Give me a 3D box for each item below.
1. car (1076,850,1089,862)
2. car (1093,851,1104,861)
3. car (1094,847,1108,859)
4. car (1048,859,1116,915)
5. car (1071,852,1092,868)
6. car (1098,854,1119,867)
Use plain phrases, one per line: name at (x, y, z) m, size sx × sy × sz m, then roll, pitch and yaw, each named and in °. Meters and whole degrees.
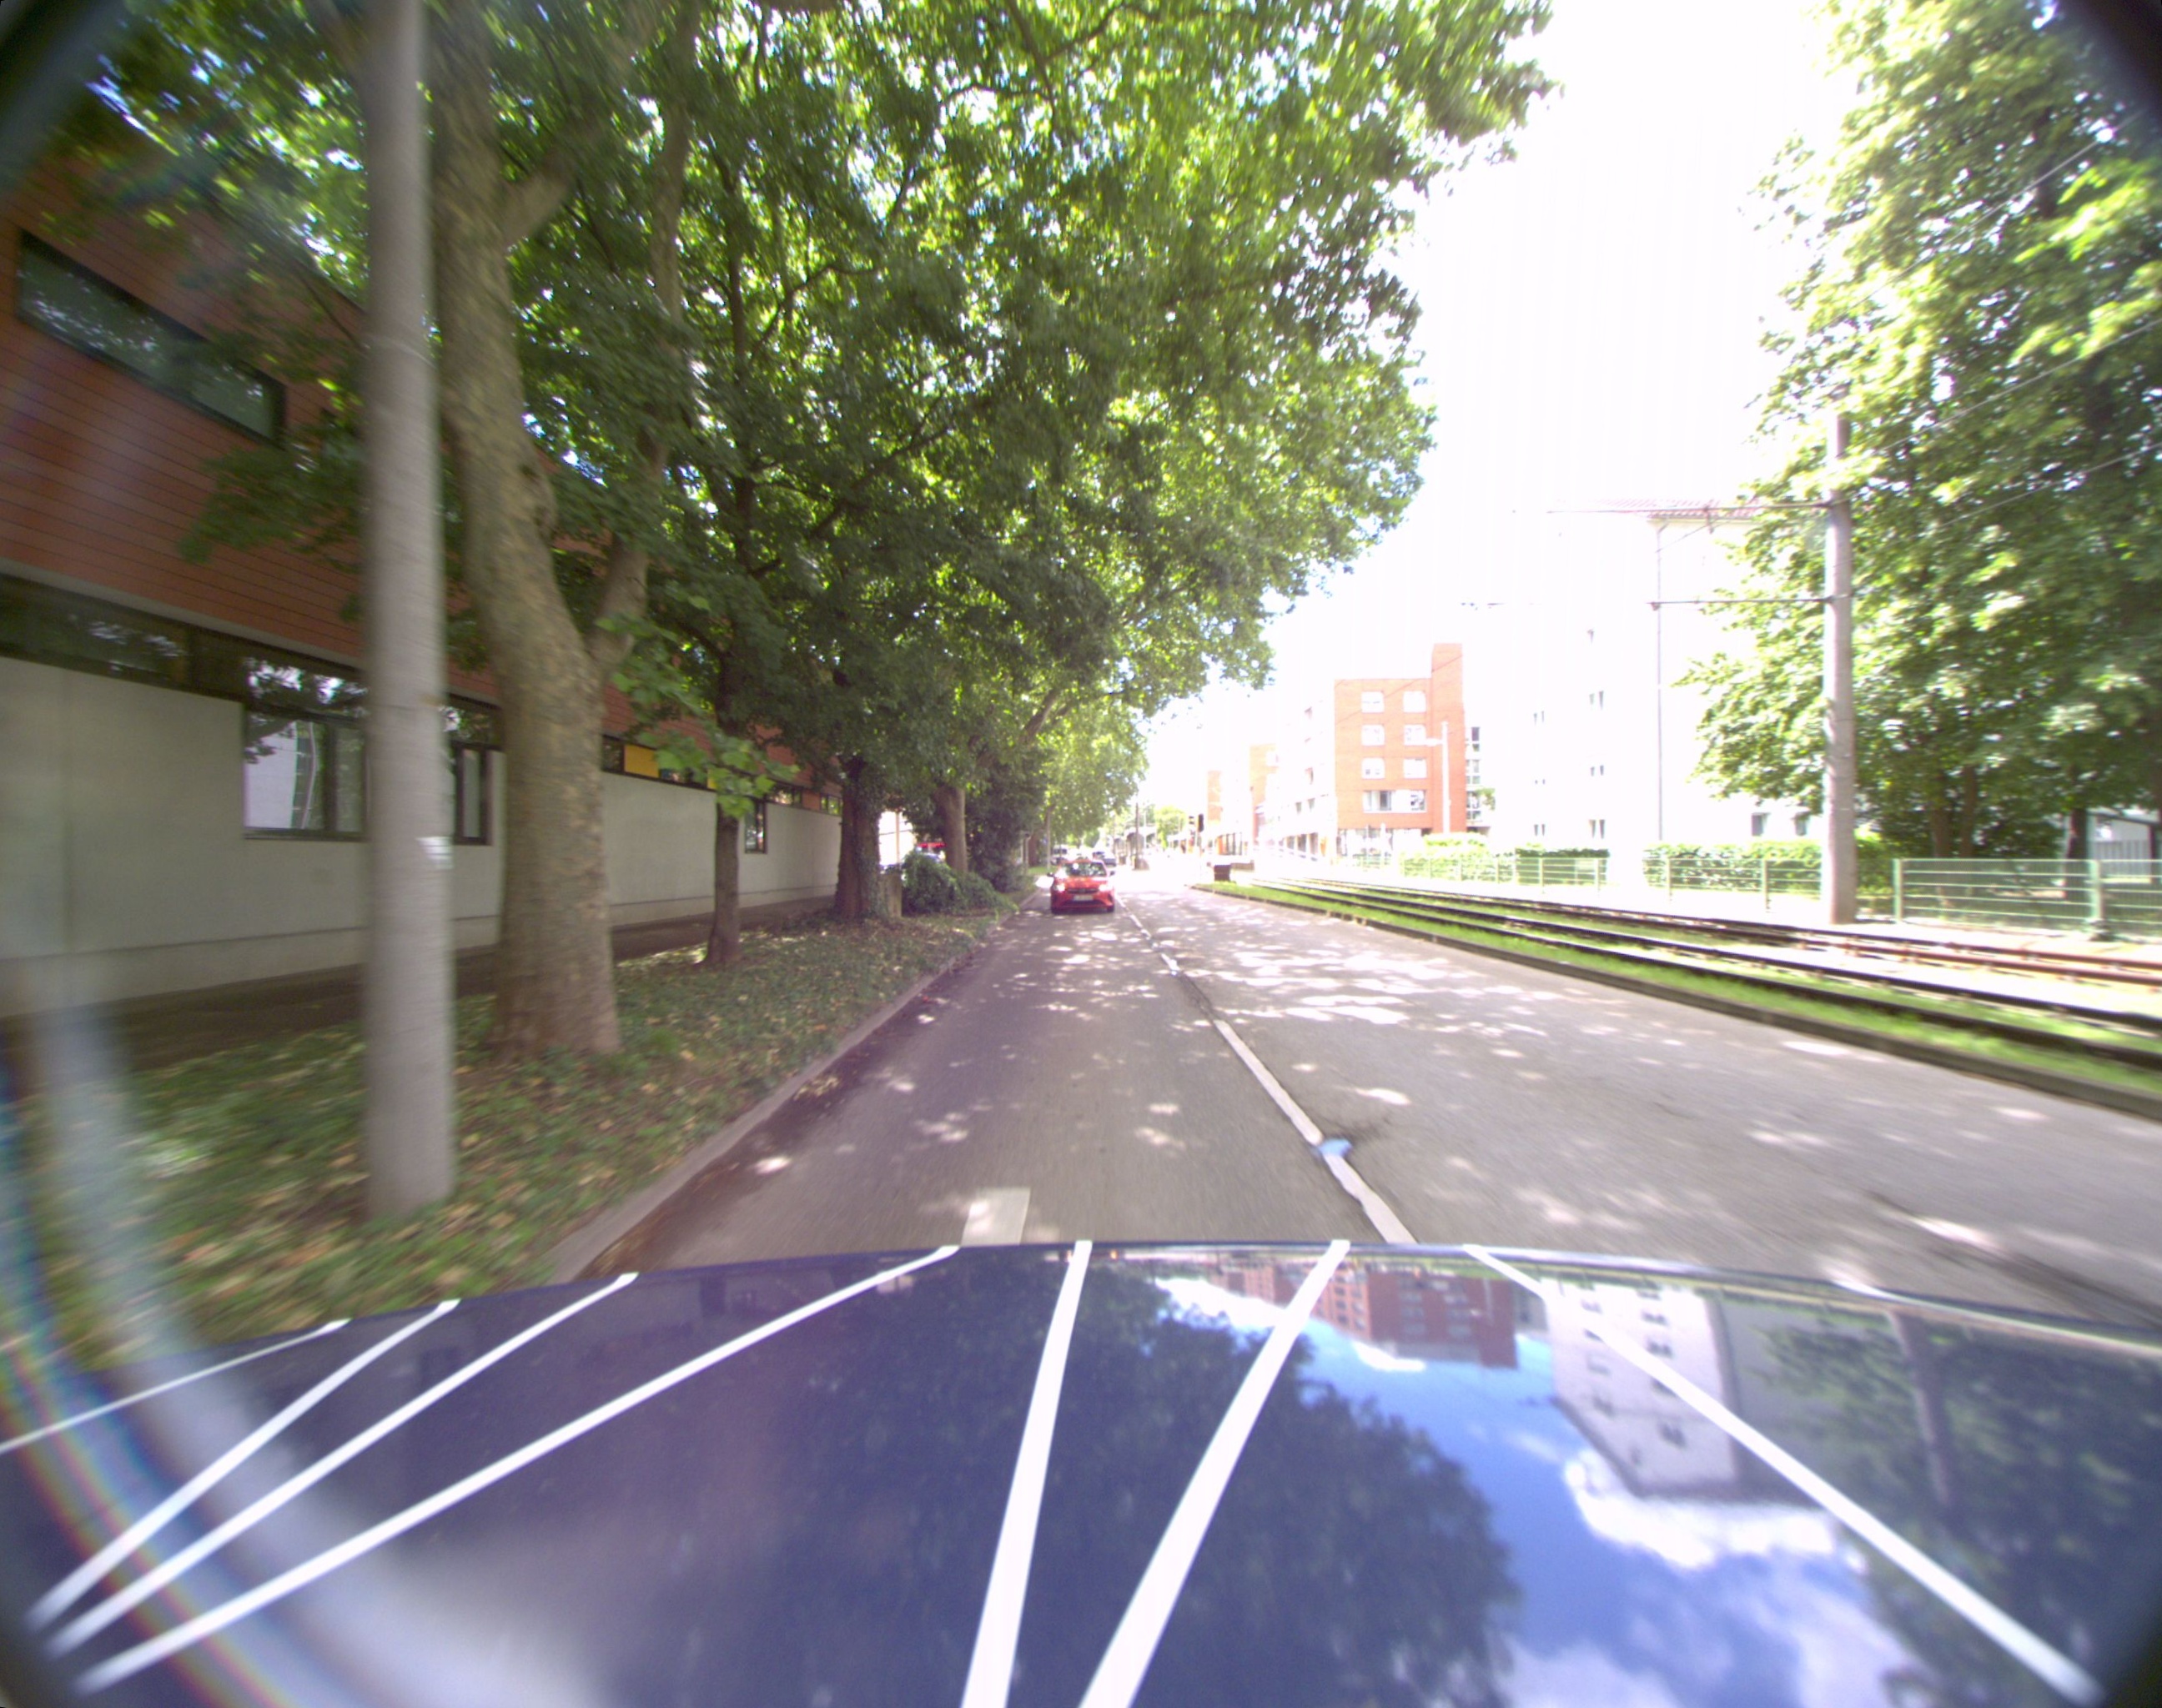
car at (0.338, 0.307, 130.136) m, size 1.998 × 2.002 × 4.000 m, roll -2°, pitch 0°, yaw 2°
car at (3.478, 0.398, 148.729) m, size 1.998 × 2.002 × 4.000 m, roll -2°, pitch 0°, yaw 2°
car at (3.076, -0.133, 114.598) m, size 1.998 × 1.805 × 4.000 m, roll -2°, pitch 0°, yaw 2°
car at (0.062, 0.921, 22.302) m, size 1.769 × 1.425 × 3.839 m, roll -2°, pitch -1°, yaw 1°
car at (0.059, 0.516, 68.089) m, size 1.769 × 1.405 × 4.238 m, roll -2°, pitch 0°, yaw 1°
car at (3.000, 0.689, 83.010) m, size 1.999 × 1.346 × 3.771 m, roll -2°, pitch 0°, yaw -3°
